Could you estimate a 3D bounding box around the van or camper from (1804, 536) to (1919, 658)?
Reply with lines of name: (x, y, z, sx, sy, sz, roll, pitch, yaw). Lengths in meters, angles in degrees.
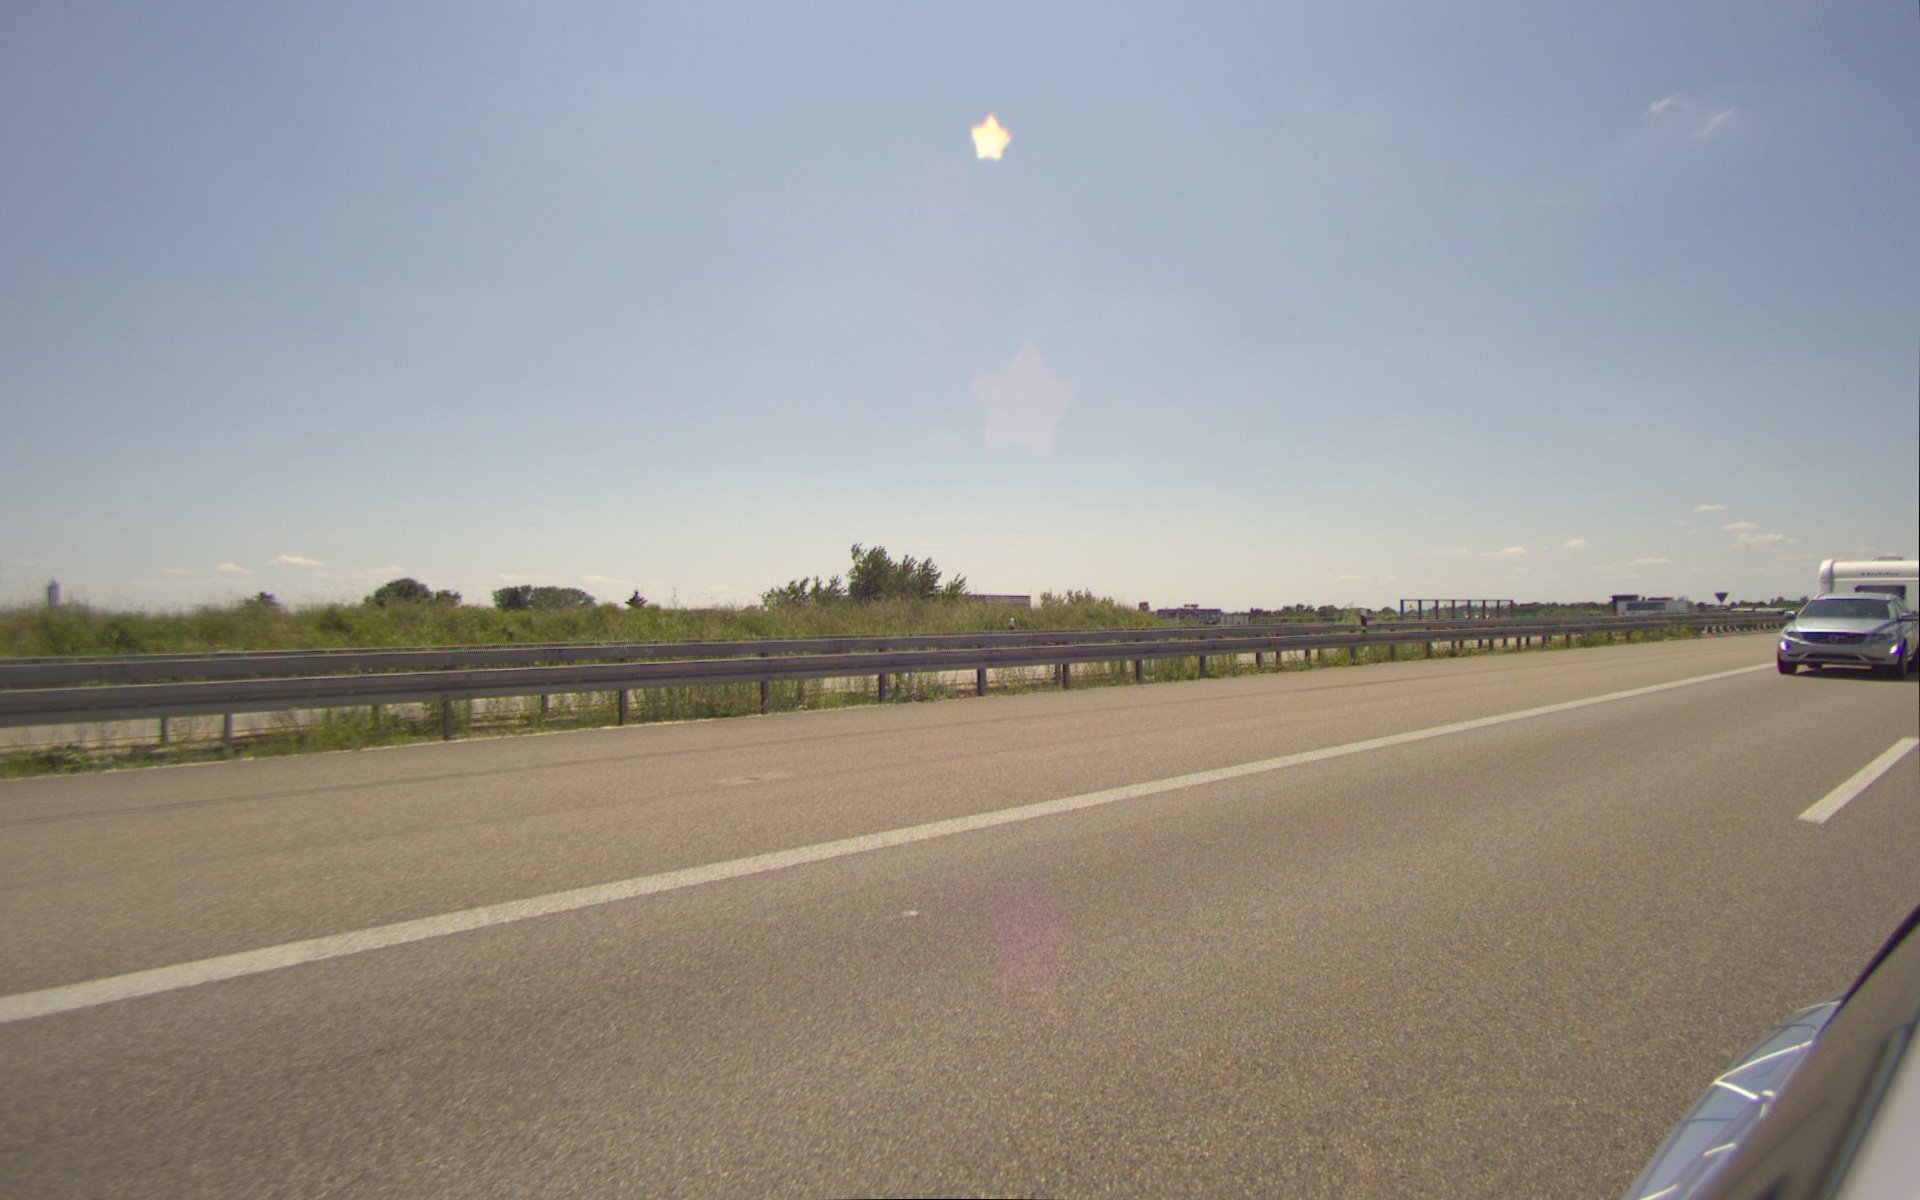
van or camper: (23.140, -0.029, 24.765, 7.677, 2.626, 2.517, 1, -1, -40)

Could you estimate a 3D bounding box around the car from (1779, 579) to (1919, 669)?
car: (18.525, 0.451, 20.702, 4.816, 1.643, 1.884, 1, -1, -40)
